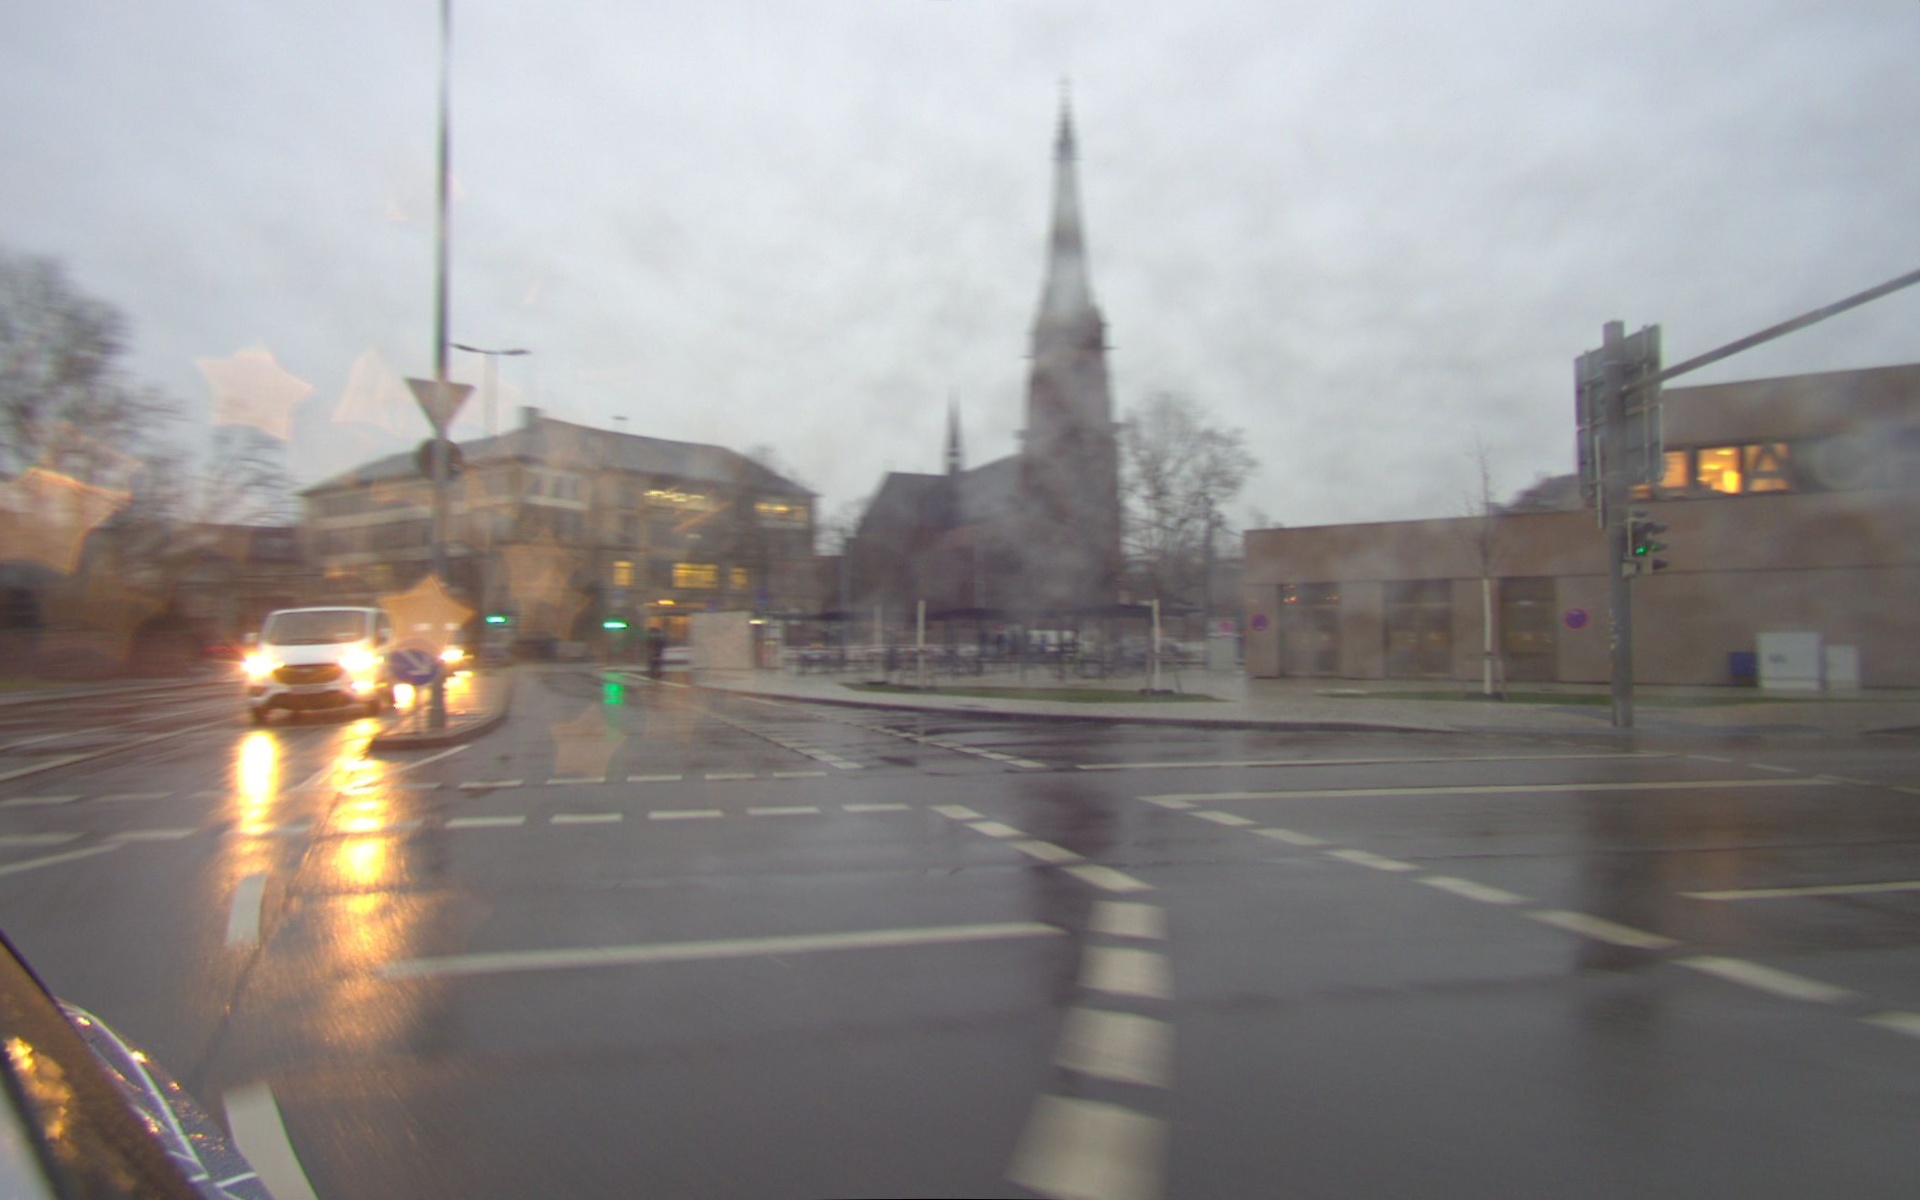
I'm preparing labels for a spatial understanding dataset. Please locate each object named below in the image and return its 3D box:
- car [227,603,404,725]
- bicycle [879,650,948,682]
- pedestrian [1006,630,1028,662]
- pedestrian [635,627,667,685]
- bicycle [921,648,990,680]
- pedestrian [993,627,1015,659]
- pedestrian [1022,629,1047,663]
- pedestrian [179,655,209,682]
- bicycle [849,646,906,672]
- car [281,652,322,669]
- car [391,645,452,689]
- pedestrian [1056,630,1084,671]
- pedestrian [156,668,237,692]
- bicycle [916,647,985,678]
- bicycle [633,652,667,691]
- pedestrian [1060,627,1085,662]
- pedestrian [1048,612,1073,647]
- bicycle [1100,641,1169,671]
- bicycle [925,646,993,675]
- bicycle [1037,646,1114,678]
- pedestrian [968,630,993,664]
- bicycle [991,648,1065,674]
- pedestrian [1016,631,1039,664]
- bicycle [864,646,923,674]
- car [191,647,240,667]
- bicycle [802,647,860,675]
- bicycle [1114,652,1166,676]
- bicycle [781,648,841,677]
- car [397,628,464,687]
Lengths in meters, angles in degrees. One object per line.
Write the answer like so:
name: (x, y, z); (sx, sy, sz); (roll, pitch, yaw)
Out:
car: (-12.014, 1.170, 19.225); (2.101, 1.936, 5.033); (-2, -2, -24)
bicycle: (-1.771, 2.503, 38.372); (2.744, 1.113, 0.639); (-4, -2, 35)
pedestrian: (3.290, 2.669, 58.627); (1.017, 1.864, 0.851); (1, -3, -24)
pedestrian: (-9.551, 1.729, 31.269); (0.705, 1.747, 0.985); (2, -4, -29)
bicycle: (-0.183, 2.461, 38.726); (2.744, 1.113, 0.639); (-4, -2, 35)
pedestrian: (2.595, 2.513, 59.316); (1.017, 1.864, 0.851); (1, -3, -24)
pedestrian: (4.248, 2.611, 57.655); (1.017, 1.864, 0.851); (-2, -2, -24)
pedestrian: (-37.603, 3.357, 49.670); (0.813, 1.327, 0.970); (-2, -4, 36)
bicycle: (-3.844, 2.749, 46.882); (2.741, 1.113, 0.640); (-4, -2, 32)
car: (-62.746, 5.767, 96.430); (3.988, 1.542, 1.867); (-2, -3, 33)
car: (-20.725, 2.543, 39.081); (1.725, 1.515, 4.331); (-2, -2, -24)
pedestrian: (4.848, 2.201, 44.527); (0.802, 1.693, 0.851); (-4, 1, -24)
pedestrian: (-37.484, 3.922, 49.744); (0.946, 0.937, 3.062); (-4, -2, 35)
bicycle: (-0.381, 2.502, 40.586); (2.735, 1.113, 0.641); (-4, -2, 25)
bicycle: (-9.612, 2.206, 31.358); (0.613, 1.185, 1.879); (3, -4, -28)
pedestrian: (6.224, 2.485, 56.070); (1.017, 1.864, 0.851); (-2, -2, -24)
pedestrian: (5.644, 1.660, 56.703); (1.017, 1.864, 0.851); (-2, -2, -27)
bicycle: (7.186, 2.325, 41.756); (2.744, 1.113, 0.639); (-4, -2, 35)
bicycle: (-0.056, 2.468, 41.291); (2.735, 1.113, 0.641); (-2, -1, 26)
bicycle: (4.144, 2.247, 36.449); (2.738, 1.113, 0.602); (-2, -1, 28)
pedestrian: (1.180, 2.738, 59.059); (1.032, 1.864, 0.851); (-4, -1, -24)
bicycle: (2.927, 2.645, 43.924); (3.182, 1.058, 0.787); (-2, -3, 31)
pedestrian: (3.843, 2.705, 57.758); (1.017, 1.864, 0.805); (2, -4, -24)
bicycle: (-2.965, 2.676, 44.884); (2.744, 1.113, 0.639); (-4, -2, 35)
car: (-77.611, 5.932, 105.515); (4.545, 2.026, 2.123); (-2, -3, 25)
bicycle: (-5.563, 2.639, 43.515); (2.744, 1.113, 0.639); (-4, -2, 35)
bicycle: (6.830, 2.423, 38.511); (1.857, 0.878, 0.600); (-2, -4, 31)
bicycle: (-6.290, 2.650, 42.587); (2.744, 1.113, 0.639); (-4, -2, 35)
car: (-25.047, 2.681, 48.081); (2.307, 2.537, 5.886); (-2, -2, -23)
